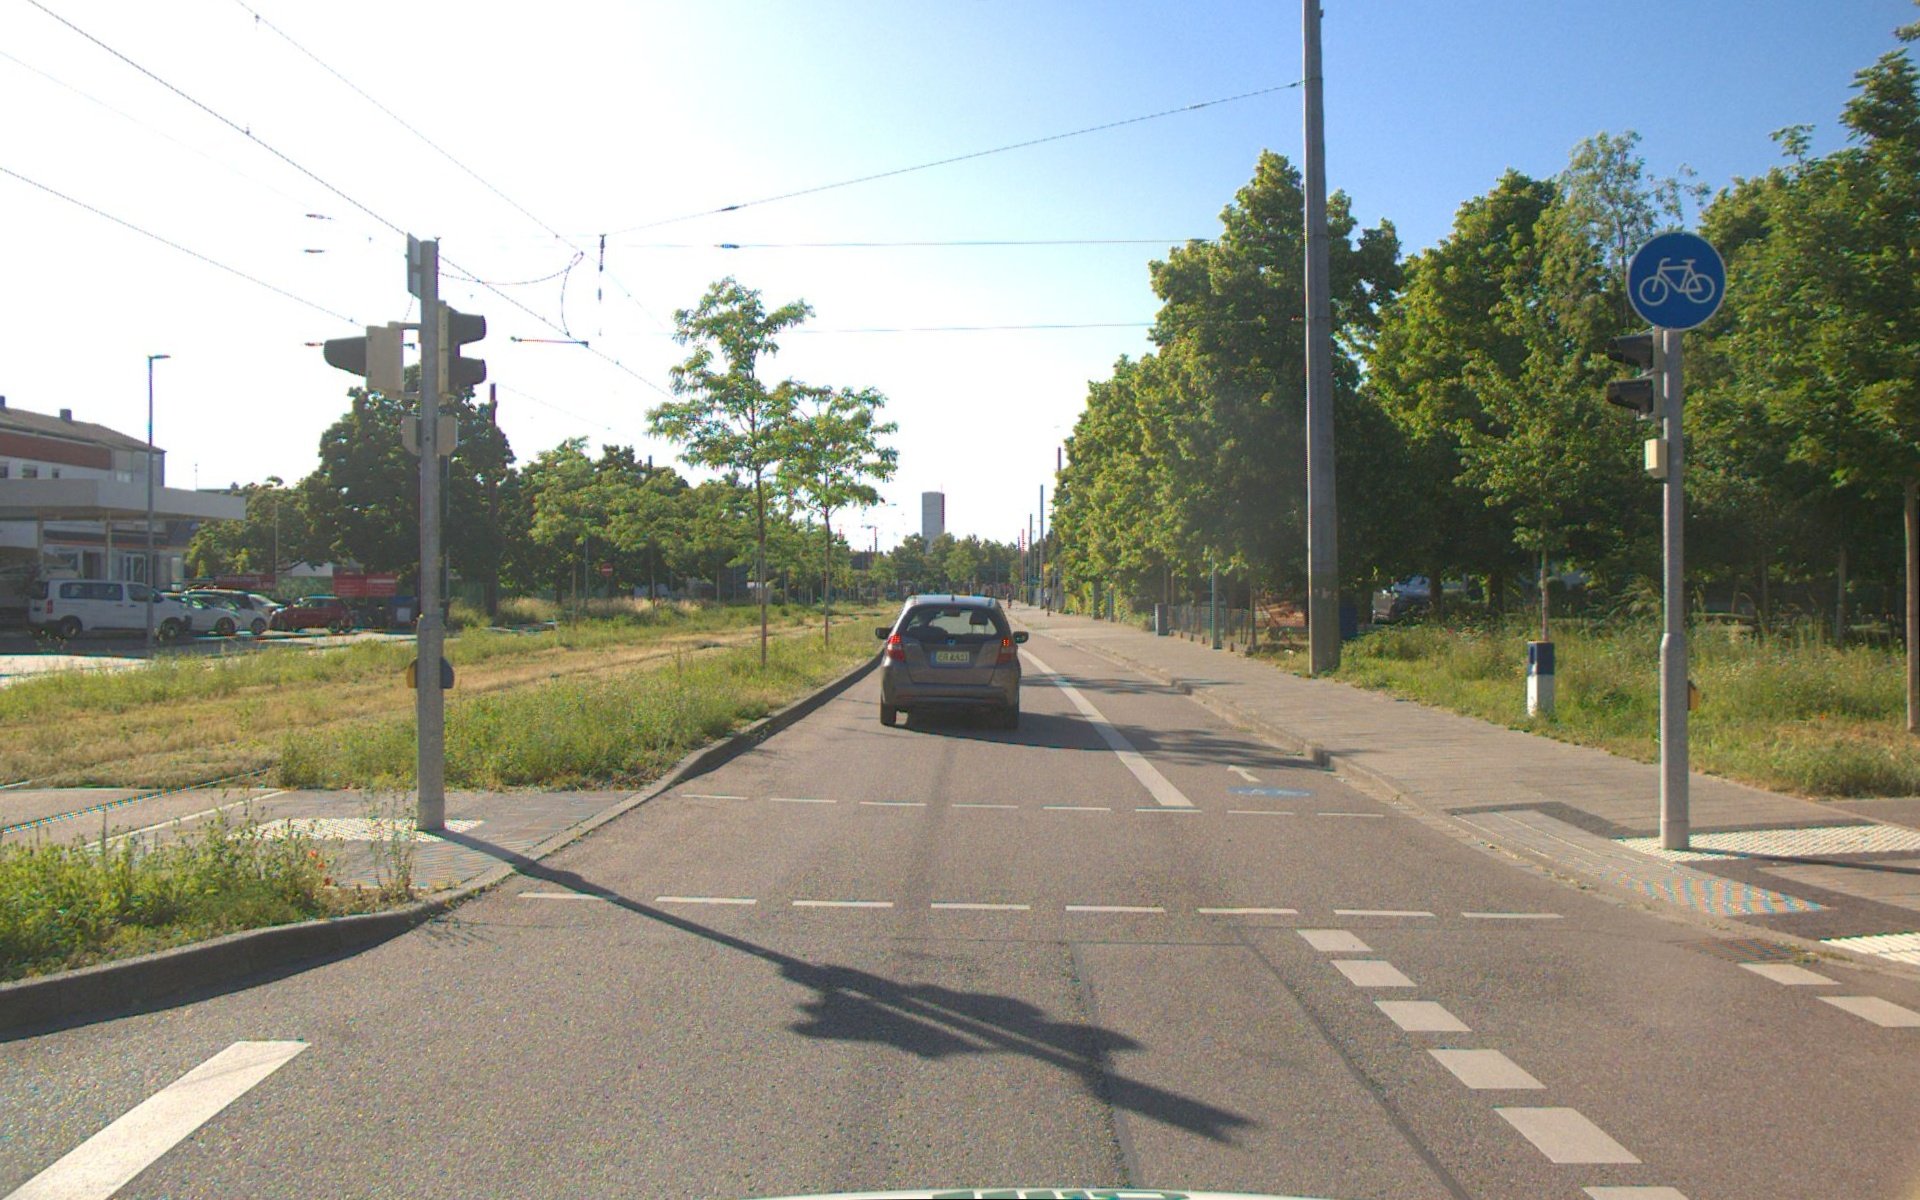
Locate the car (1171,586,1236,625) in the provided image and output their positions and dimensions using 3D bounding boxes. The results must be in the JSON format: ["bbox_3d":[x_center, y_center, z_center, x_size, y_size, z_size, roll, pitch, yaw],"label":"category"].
[{"bbox_3d":[9.356,0.203,63.780,1.738,1.411,3.868,-1,0,-2],"label":"car"}]

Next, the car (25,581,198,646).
[{"bbox_3d":[-28.053,0.406,54.812,1.825,2.008,4.765,0,1,38],"label":"car"}]

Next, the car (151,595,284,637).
[{"bbox_3d":[-28.394,0.594,63.356,1.753,1.496,4.463,-1,1,30],"label":"car"}]

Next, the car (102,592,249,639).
[{"bbox_3d":[-28.032,0.522,59.197,1.758,1.554,4.451,0,1,38],"label":"car"}]

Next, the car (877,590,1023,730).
[{"bbox_3d":[-0.046,0.669,20.387,1.590,1.526,3.458,1,0,3],"label":"car"}]

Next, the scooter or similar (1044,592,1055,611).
[{"bbox_3d":[5.469,0.066,101.301,0.528,1.138,1.417,-1,0,-1],"label":"scooter or similar"}]

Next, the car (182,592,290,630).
[{"bbox_3d":[-32.234,0.479,73.735,3.988,1.596,1.791,-1,1,-2],"label":"car"}]

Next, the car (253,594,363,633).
[{"bbox_3d":[-28.077,0.585,71.317,3.988,1.596,1.791,-1,1,-2],"label":"car"}]

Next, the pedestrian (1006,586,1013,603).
[{"bbox_3d":[5.261,-0.568,176.182,0.707,1.832,1.164,-1,0,-1],"label":"pedestrian"}]

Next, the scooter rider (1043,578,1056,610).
[{"bbox_3d":[5.503,-0.358,101.314,0.701,1.934,0.934,-1,0,-1],"label":"scooter rider"}]

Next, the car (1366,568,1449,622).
[{"bbox_3d":[17.070,-0.203,63.316,1.833,2.001,5.167,0,0,1],"label":"car"}]

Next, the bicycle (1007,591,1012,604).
[{"bbox_3d":[5.269,-0.272,176.225,0.502,1.263,3.089,-1,0,0],"label":"bicycle"}]
